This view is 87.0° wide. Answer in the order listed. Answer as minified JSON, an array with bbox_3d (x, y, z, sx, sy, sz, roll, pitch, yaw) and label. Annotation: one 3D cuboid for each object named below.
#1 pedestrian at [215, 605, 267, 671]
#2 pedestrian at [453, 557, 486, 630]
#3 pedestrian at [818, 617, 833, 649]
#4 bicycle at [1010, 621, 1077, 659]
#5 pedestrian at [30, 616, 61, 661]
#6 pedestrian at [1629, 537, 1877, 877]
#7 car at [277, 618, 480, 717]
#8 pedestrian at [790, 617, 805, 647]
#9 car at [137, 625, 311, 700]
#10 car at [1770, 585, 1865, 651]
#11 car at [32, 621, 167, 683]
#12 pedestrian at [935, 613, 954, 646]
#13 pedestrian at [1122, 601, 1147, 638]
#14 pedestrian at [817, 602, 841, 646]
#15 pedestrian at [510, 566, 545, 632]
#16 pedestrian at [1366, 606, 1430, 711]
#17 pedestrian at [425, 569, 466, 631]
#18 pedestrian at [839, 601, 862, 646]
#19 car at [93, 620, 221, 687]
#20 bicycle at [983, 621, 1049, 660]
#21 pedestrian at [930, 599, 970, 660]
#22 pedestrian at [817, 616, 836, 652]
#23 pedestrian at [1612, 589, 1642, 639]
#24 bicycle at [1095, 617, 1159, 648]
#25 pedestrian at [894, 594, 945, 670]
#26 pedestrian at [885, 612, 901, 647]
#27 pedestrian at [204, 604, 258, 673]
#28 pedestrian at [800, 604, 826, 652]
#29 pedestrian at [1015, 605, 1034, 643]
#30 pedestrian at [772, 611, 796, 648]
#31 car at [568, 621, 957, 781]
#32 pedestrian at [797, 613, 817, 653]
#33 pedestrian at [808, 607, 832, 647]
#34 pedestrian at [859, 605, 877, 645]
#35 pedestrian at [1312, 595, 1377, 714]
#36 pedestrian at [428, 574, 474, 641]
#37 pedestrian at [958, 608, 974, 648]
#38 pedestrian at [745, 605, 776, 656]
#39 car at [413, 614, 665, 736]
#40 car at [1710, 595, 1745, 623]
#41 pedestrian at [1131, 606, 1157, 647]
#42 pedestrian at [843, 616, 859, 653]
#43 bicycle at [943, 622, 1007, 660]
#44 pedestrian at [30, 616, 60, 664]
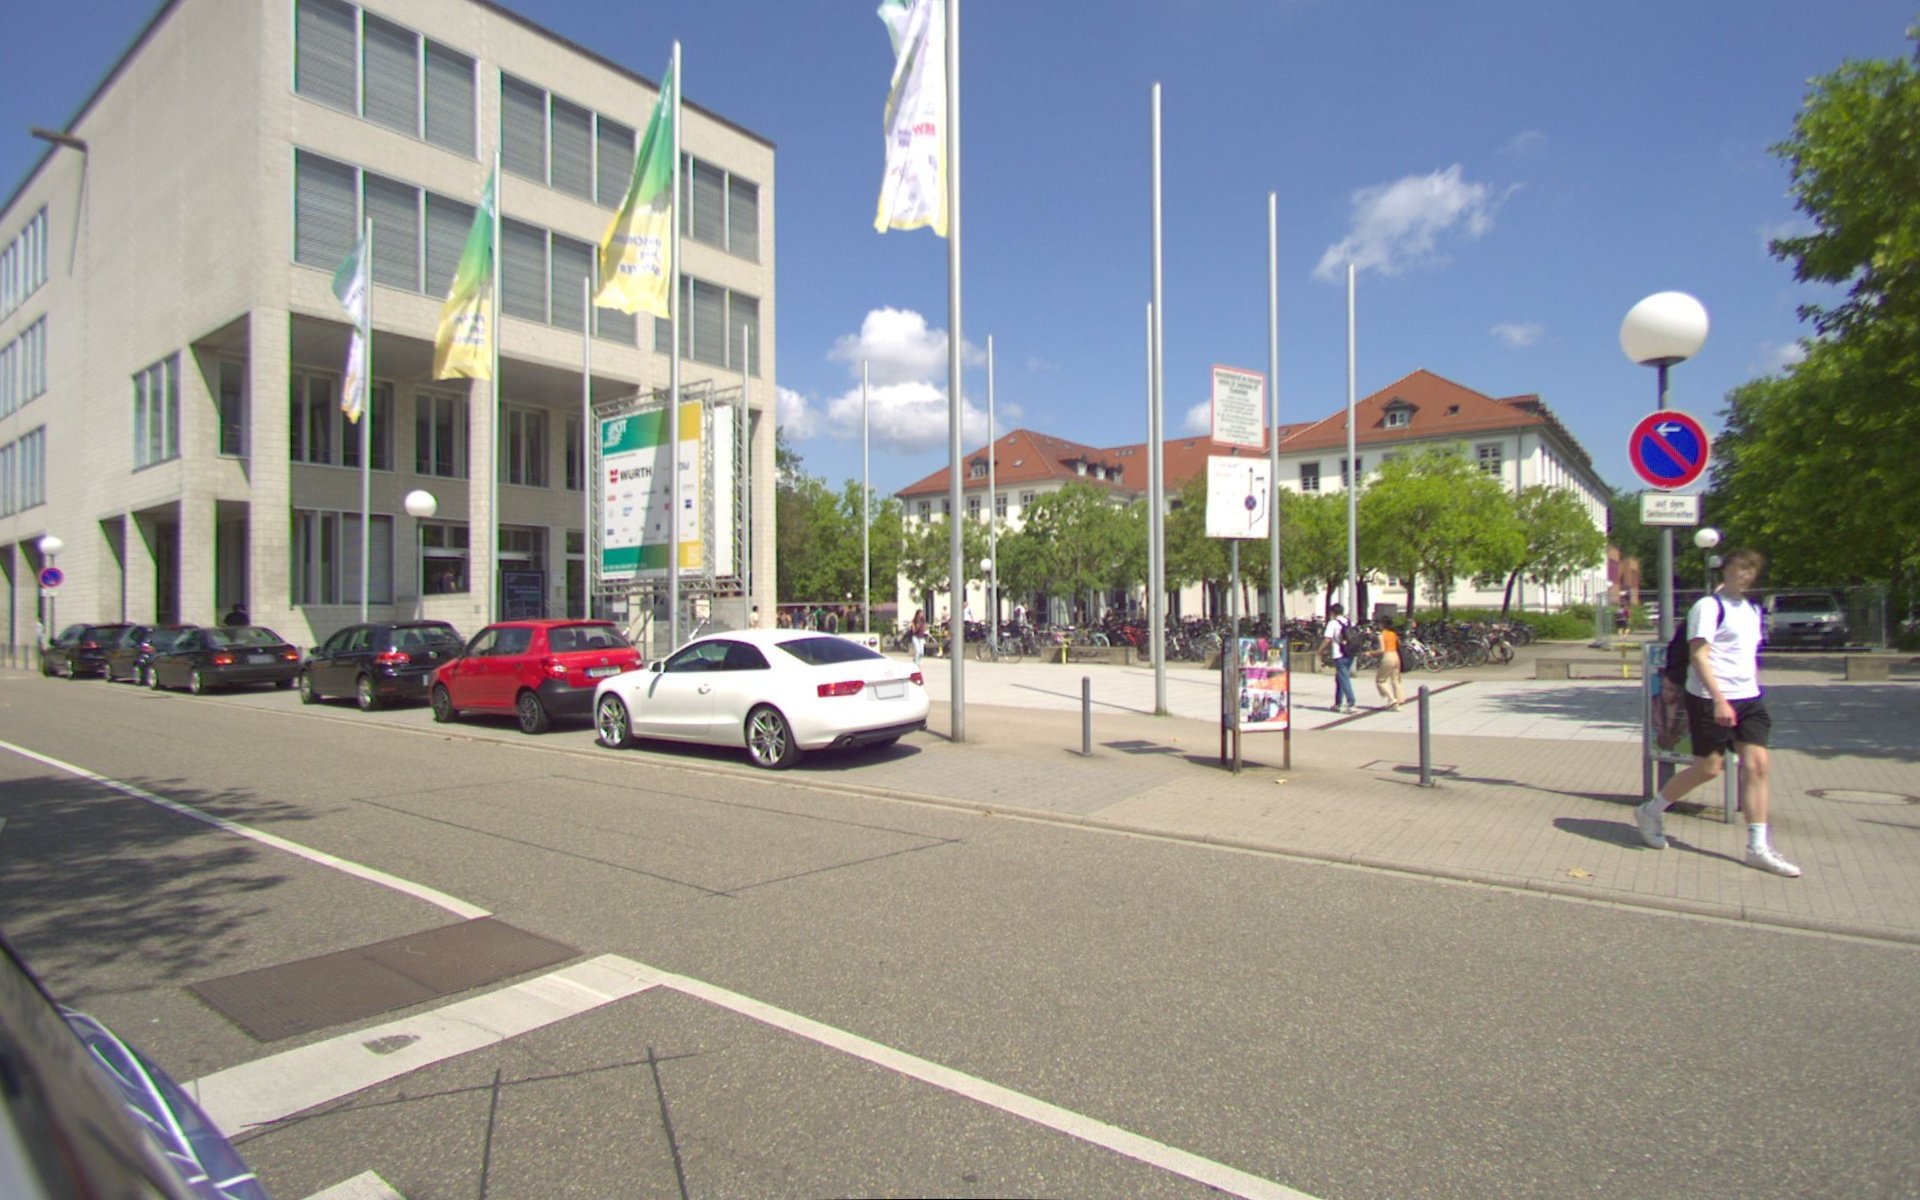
[{"bbox_3d":[-22.596,1.175,31.823,1.161,2.029,0.976,-2,-2,33],"label":"pedestrian"},{"bbox_3d":[-16.796,-0.214,34.668,0.730,2.440,0.757,-1,-1,11],"label":"pedestrian"},{"bbox_3d":[-7.996,1.974,60.253,0.700,1.899,0.735,-1,-1,4],"label":"pedestrian"},{"bbox_3d":[3.305,1.550,40.244,1.128,1.422,2.960,0,-1,-31],"label":"bicycle"},{"bbox_3d":[-41.878,1.767,46.346,1.064,2.029,0.840,-2,-2,35],"label":"pedestrian"},{"bbox_3d":[4.731,0.582,6.126,0.714,1.864,1.086,-2,1,9],"label":"pedestrian"},{"bbox_3d":[-10.407,1.124,17.996,4.192,1.478,1.731,-2,0,39],"label":"car"},{"bbox_3d":[-10.594,2.068,65.962,0.806,1.948,0.736,-1,-1,1],"label":"pedestrian"},{"bbox_3d":[-16.153,1.289,22.116,5.011,1.388,1.841,-2,0,39],"label":"car"},{"bbox_3d":[27.605,0.598,32.721,1.861,1.954,4.719,-2,-2,35],"label":"car"},{"bbox_3d":[-23.708,1.385,27.826,4.711,1.478,1.842,-2,0,37],"label":"car"},{"bbox_3d":[-0.951,1.817,63.005,0.736,2.029,0.878,-2,-1,42],"label":"pedestrian"},{"bbox_3d":[9.809,1.105,56.969,1.043,2.029,0.922,1,-2,-43],"label":"pedestrian"},{"bbox_3d":[-6.005,1.093,46.402,0.749,2.029,0.737,0,-1,-41],"label":"pedestrian"},{"bbox_3d":[-14.394,-0.039,33.711,0.798,2.161,0.702,-1,-1,16],"label":"pedestrian"},{"bbox_3d":[7.244,0.948,16.739,0.745,1.664,0.835,-2,-2,39],"label":"pedestrian"},{"bbox_3d":[-17.107,0.003,33.654,0.972,2.029,0.741,-1,-1,17],"label":"pedestrian"},{"bbox_3d":[-5.028,1.079,46.560,0.749,2.029,0.737,0,-1,-41],"label":"pedestrian"},{"bbox_3d":[-20.115,1.297,25.307,3.701,1.478,1.623,-2,0,37],"label":"car"},{"bbox_3d":[2.175,1.567,39.862,1.128,1.422,2.960,0,-1,-31],"label":"bicycle"},{"bbox_3d":[-0.324,0.960,33.232,0.942,1.955,0.977,-2,-2,34],"label":"pedestrian"},{"bbox_3d":[-7.579,1.941,57.489,0.879,2.029,0.735,-1,-1,5],"label":"pedestrian"},{"bbox_3d":[30.312,0.658,46.009,1.037,2.217,1.147,-2,-2,31],"label":"pedestrian"},{"bbox_3d":[8.085,1.561,49.140,1.131,1.422,2.953,0,-1,-44],"label":"bicycle"},{"bbox_3d":[-1.113,0.876,27.831,0.985,2.029,1.047,-2,-2,34],"label":"pedestrian"},{"bbox_3d":[-4.214,1.871,63.633,0.879,2.159,0.735,-1,-1,5],"label":"pedestrian"},{"bbox_3d":[-21.885,1.140,30.399,1.161,2.029,0.976,-2,-2,33],"label":"pedestrian"},{"bbox_3d":[-5.483,1.045,37.777,0.752,1.770,0.735,-1,-1,14],"label":"pedestrian"},{"bbox_3d":[3.823,1.436,60.149,0.955,2.217,0.966,-1,-2,15],"label":"pedestrian"},{"bbox_3d":[-7.709,1.284,44.349,0.736,1.626,0.723,-1,-1,38],"label":"pedestrian"},{"bbox_3d":[-2.382,0.996,11.430,4.656,1.406,1.661,-2,0,38],"label":"car"},{"bbox_3d":[-7.690,1.643,50.849,0.875,2.000,0.842,-1,-1,-16],"label":"pedestrian"},{"bbox_3d":[-6.208,1.195,44.784,0.737,1.787,0.750,-2,-2,38],"label":"pedestrian"},{"bbox_3d":[-4.314,1.162,47.404,0.751,1.851,0.700,-1,-1,2],"label":"pedestrian"},{"bbox_3d":[6.231,0.864,16.409,0.769,1.873,0.712,-2,-2,39],"label":"pedestrian"},{"bbox_3d":[-15.689,0.236,31.199,0.909,2.029,0.968,-1,-1,37],"label":"pedestrian"},{"bbox_3d":[0.327,1.414,51.670,0.751,2.029,0.735,-1,-1,5],"label":"pedestrian"},{"bbox_3d":[-6.931,1.063,35.200,0.756,1.770,0.731,-1,-2,28],"label":"pedestrian"},{"bbox_3d":[-6.176,1.004,14.672,3.905,1.478,1.661,-2,0,38],"label":"car"},{"bbox_3d":[56.789,0.679,74.958,1.862,1.954,4.348,-2,-2,35],"label":"car"},{"bbox_3d":[9.910,1.432,54.442,1.039,2.217,1.011,-2,-2,36],"label":"pedestrian"},{"bbox_3d":[-6.015,1.902,55.865,0.751,2.029,0.735,-1,-1,5],"label":"pedestrian"},{"bbox_3d":[0.550,1.592,40.084,1.128,1.422,2.960,0,-1,-31],"label":"bicycle"},{"bbox_3d":[-39.592,1.732,43.799,0.880,2.029,0.848,-1,-1,40],"label":"pedestrian"}]
